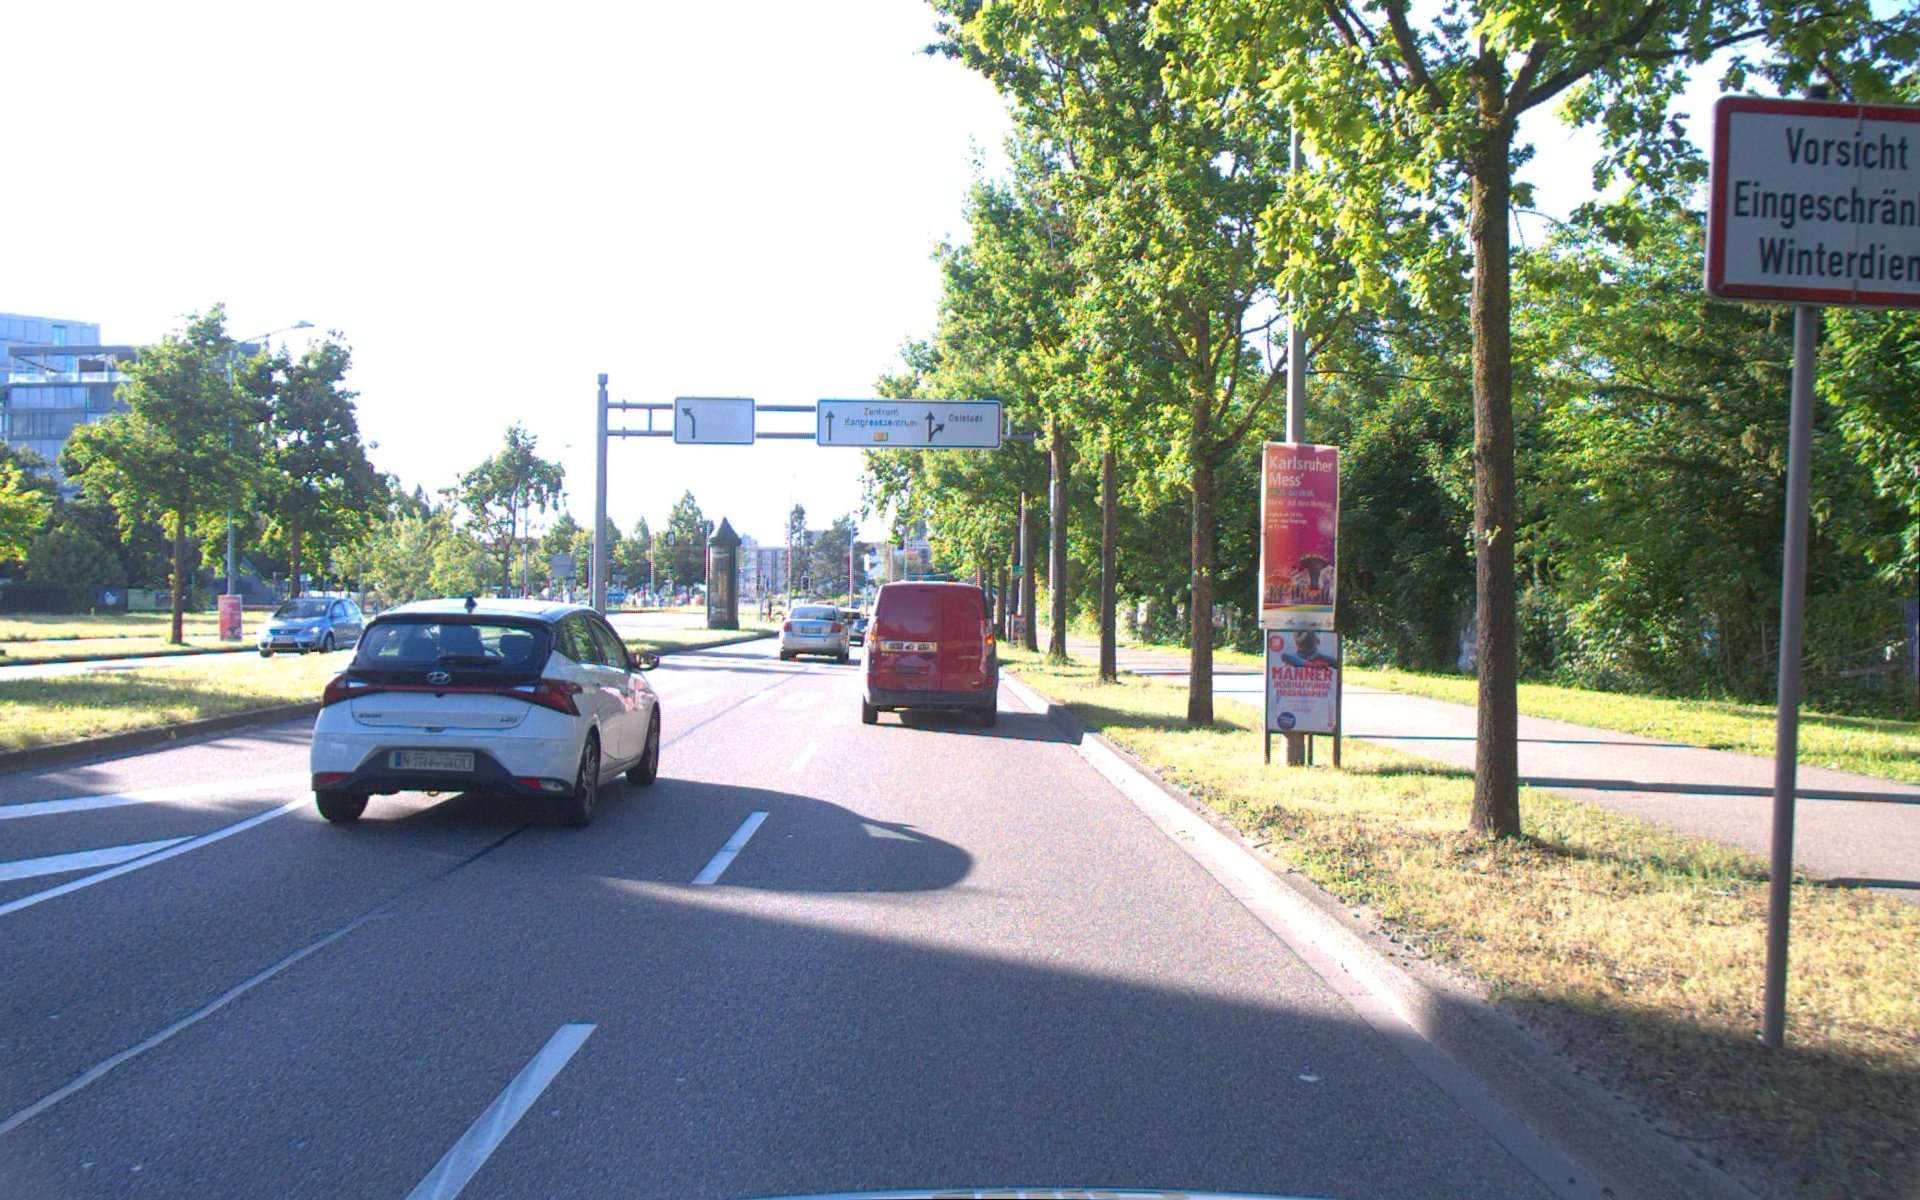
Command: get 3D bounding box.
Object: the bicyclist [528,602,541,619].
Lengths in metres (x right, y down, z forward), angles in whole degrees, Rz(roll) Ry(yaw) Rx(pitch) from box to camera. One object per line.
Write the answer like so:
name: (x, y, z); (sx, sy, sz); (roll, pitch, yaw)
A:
bicyclist: (-28.888, 0.694, 112.290); (0.719, 1.126, 0.605); (0, -1, 11)

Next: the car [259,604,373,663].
car: (-17.087, 0.856, 44.077); (1.655, 1.502, 4.047); (0, 0, -3)

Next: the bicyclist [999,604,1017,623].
bicyclist: (3.361, 0.936, 115.571); (0.960, 1.271, 0.779); (1, -1, -34)

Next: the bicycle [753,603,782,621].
bicycle: (-13.073, 0.811, 112.590); (1.919, 1.187, 0.517); (0, -1, -3)

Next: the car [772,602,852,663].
car: (-3.902, 0.829, 44.138); (1.803, 1.482, 4.161); (2, 0, -1)

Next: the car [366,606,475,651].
car: (-14.542, 0.741, 44.820); (1.791, 1.131, 4.171); (0, 0, -3)

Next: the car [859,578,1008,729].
car: (-0.376, 0.648, 22.185); (1.770, 1.790, 4.004); (2, 0, -2)

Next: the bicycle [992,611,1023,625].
bicycle: (3.316, 1.278, 115.538); (2.100, 0.975, 0.779); (1, -1, -34)

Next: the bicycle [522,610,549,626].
bicycle: (-28.821, 1.223, 112.266); (1.690, 1.126, 0.605); (0, -1, 11)

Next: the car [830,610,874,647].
car: (-4.324, 1.117, 66.376); (1.628, 1.422, 3.557); (0, 0, -2)

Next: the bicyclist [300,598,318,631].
bicyclist: (-28.946, 0.643, 73.578); (0.472, 1.419, 0.844); (0, -1, -3)

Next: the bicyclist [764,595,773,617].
bicyclist: (-13.037, 0.440, 112.596); (0.591, 1.494, 0.517); (0, -1, -3)

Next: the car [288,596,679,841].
car: (-3.227, 0.713, 12.050); (1.742, 1.433, 4.073); (1, 0, -2)
